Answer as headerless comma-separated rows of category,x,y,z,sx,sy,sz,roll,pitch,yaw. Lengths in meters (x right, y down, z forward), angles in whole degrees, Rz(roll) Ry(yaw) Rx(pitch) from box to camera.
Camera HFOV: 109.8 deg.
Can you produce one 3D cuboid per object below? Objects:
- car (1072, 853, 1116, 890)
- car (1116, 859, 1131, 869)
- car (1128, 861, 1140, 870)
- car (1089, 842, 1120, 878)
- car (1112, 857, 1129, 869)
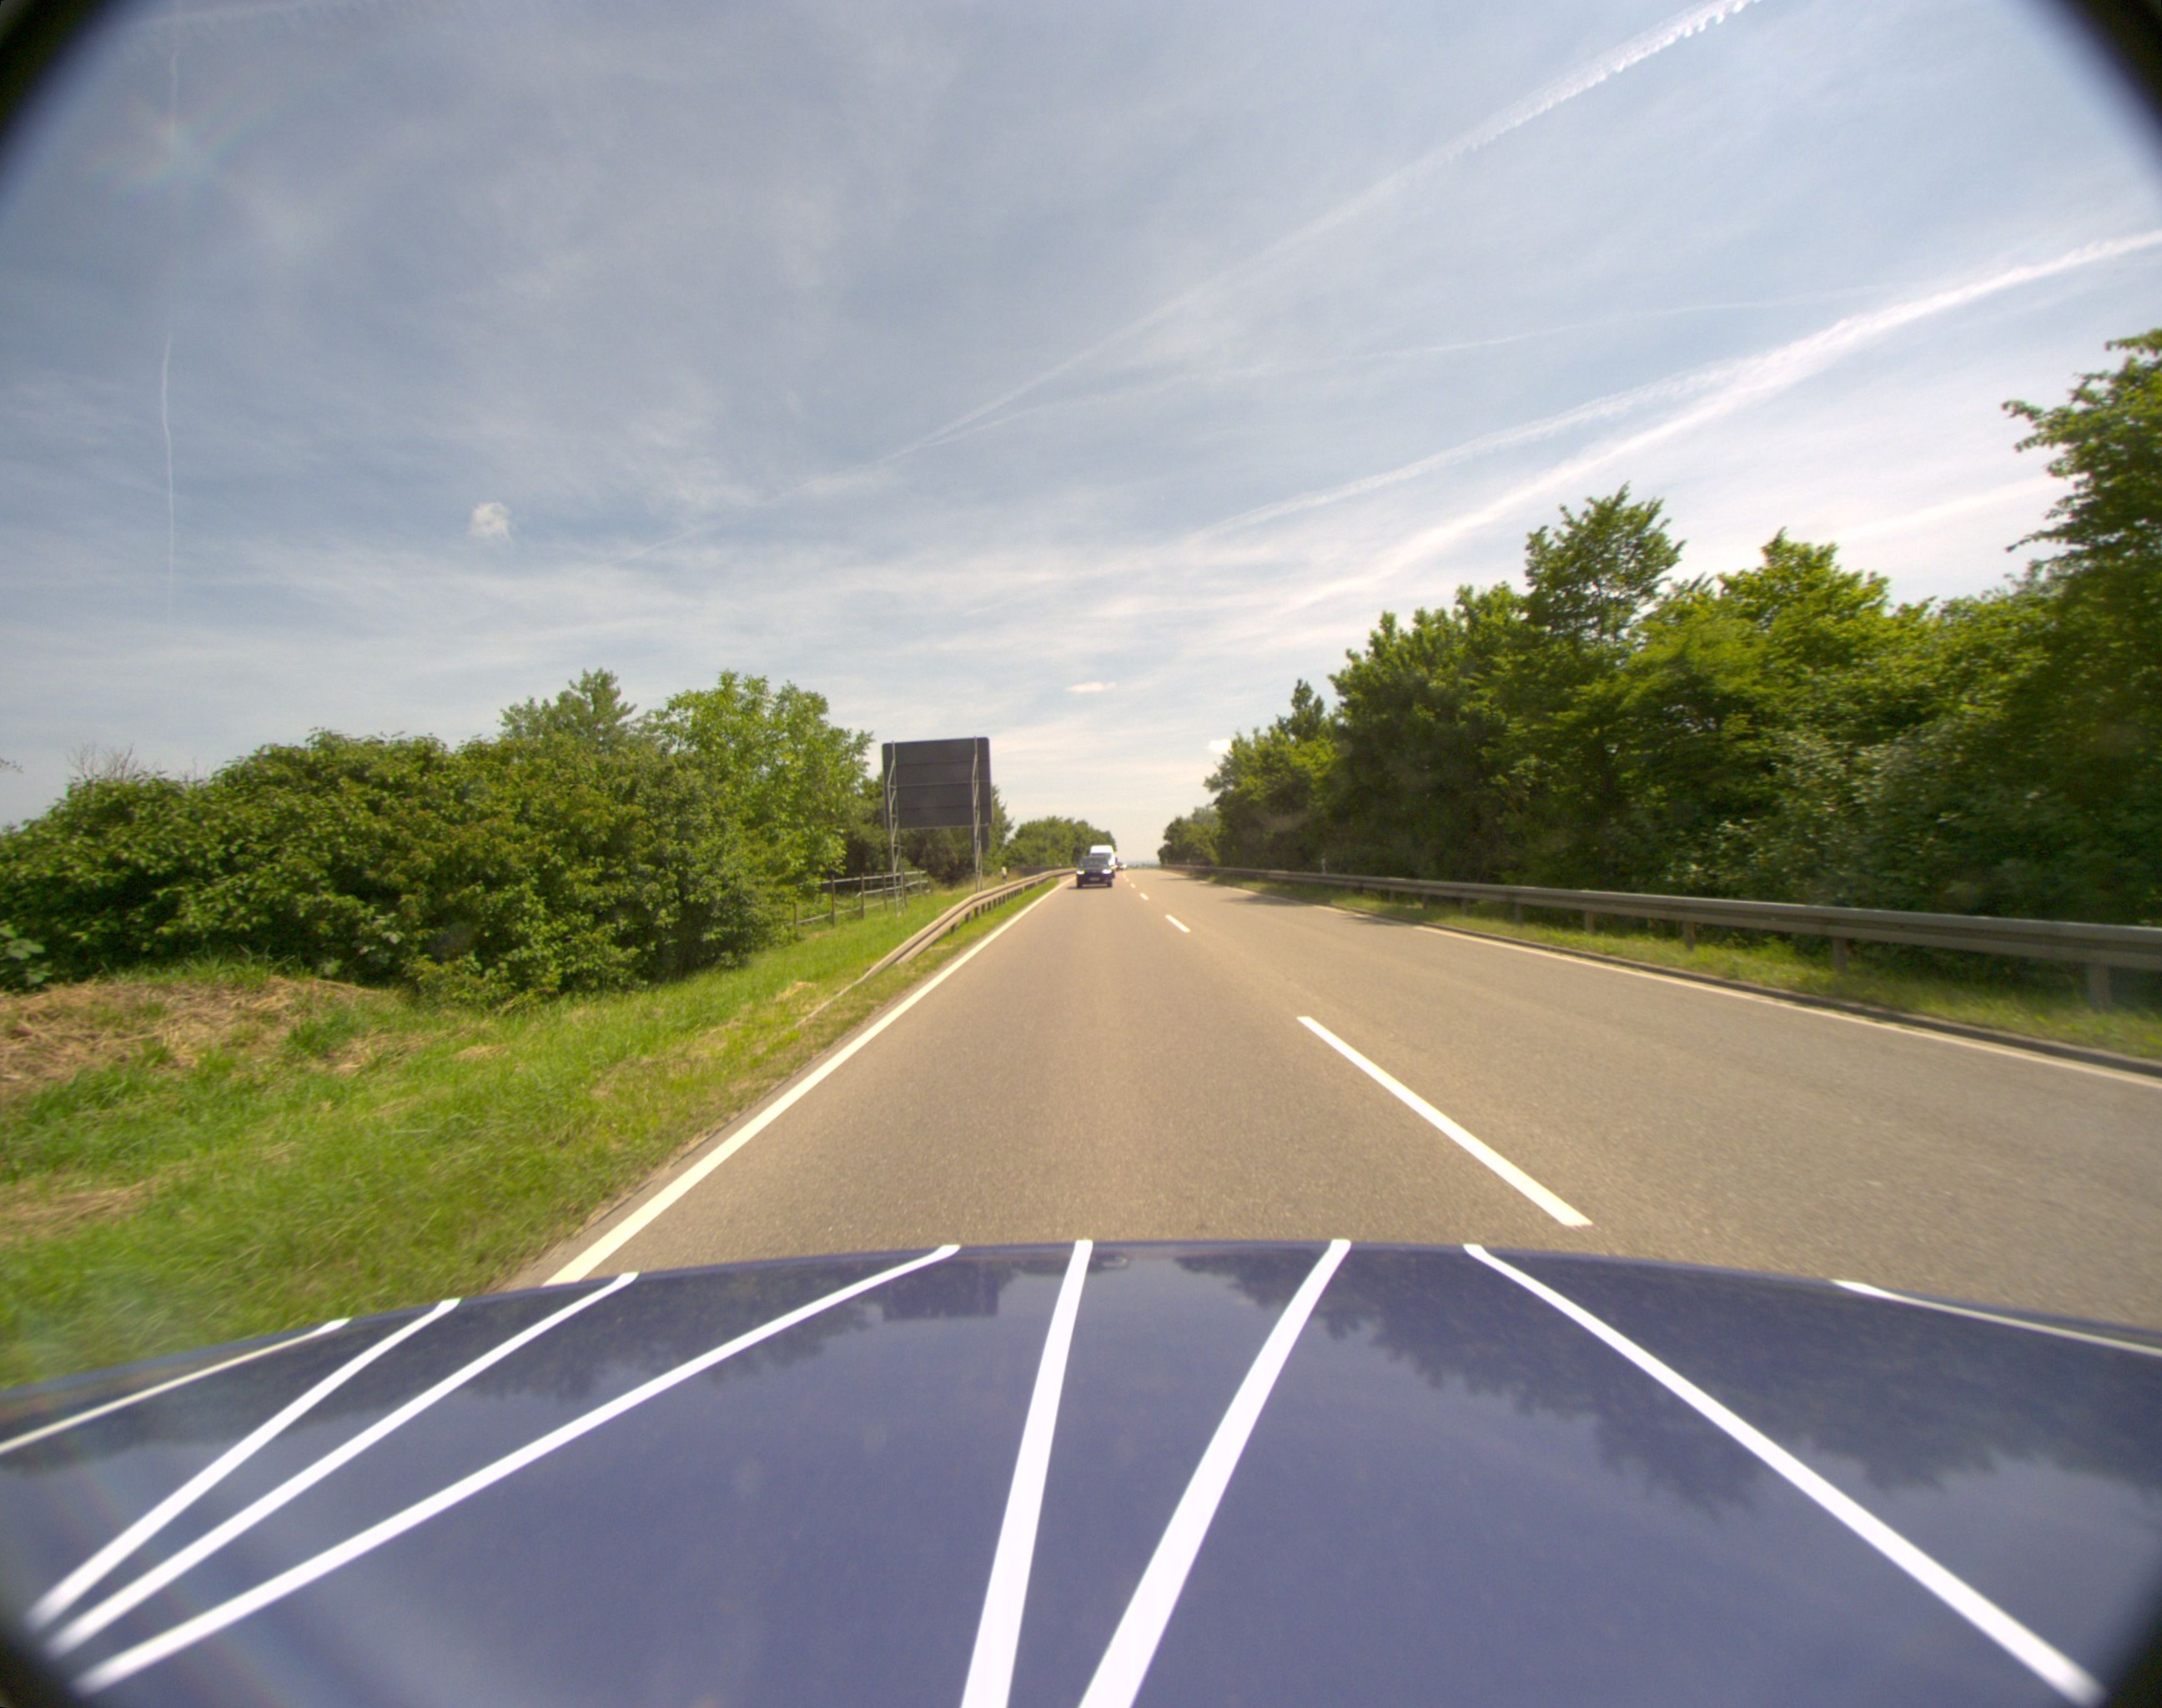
car,0.761,0.820,39.471,2.038,1.691,5.514,-2,0,3
car,6.981,1.613,124.331,2.038,1.641,4.747,-2,-1,7
car,10.191,2.174,145.678,2.038,1.641,4.747,-2,-1,7
car,1.881,0.433,60.711,2.225,2.617,5.752,-3,1,2
car,5.534,1.305,106.752,2.038,1.641,4.747,-2,-1,7
